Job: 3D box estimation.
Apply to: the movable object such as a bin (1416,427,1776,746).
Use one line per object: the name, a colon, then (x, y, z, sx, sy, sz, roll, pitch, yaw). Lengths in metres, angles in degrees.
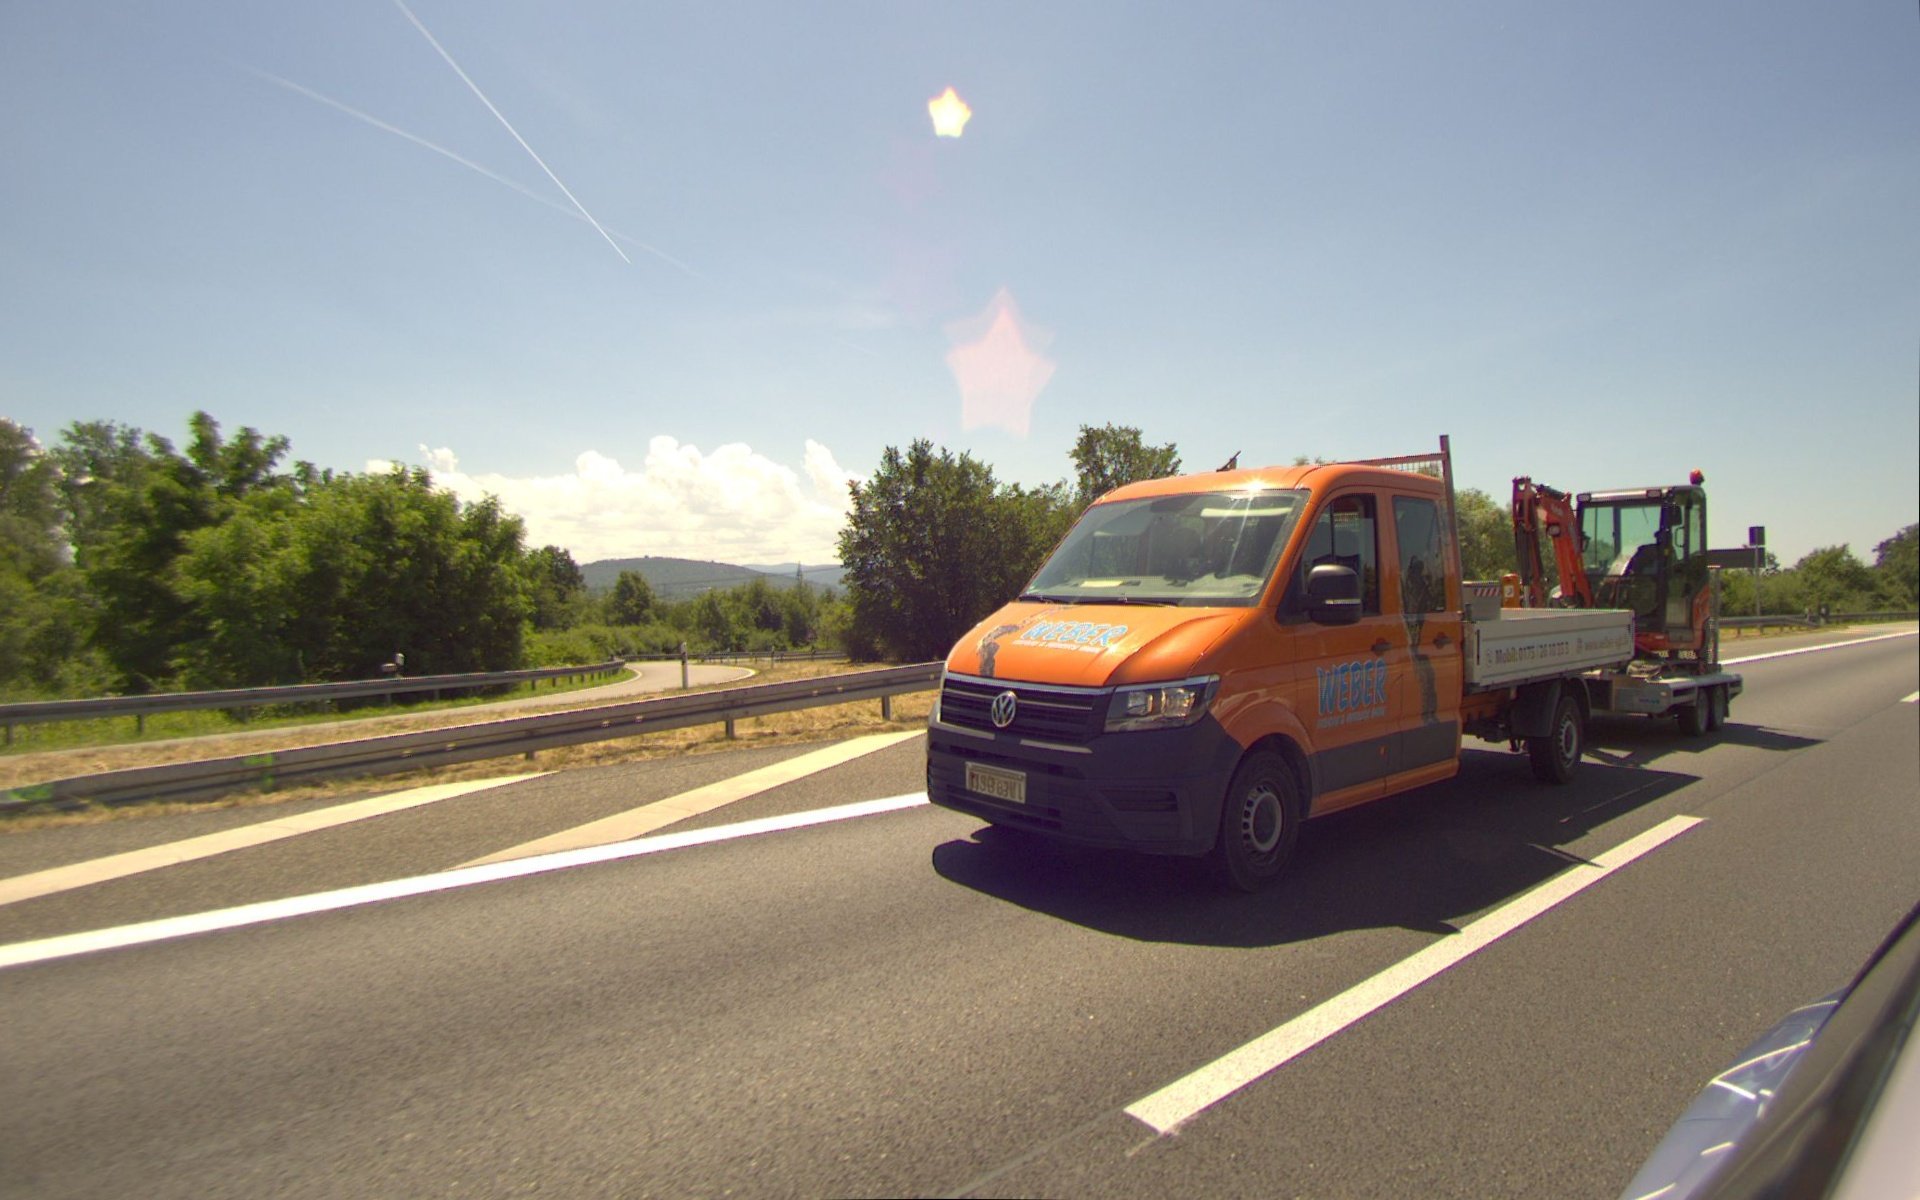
movable object such as a bin: (7.306, -0.128, 11.425, 4.677, 2.851, 2.178, 0, 0, -41)

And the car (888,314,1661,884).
car: (2.902, -0.015, 7.423, 7.100, 2.435, 1.997, 0, 0, -41)
